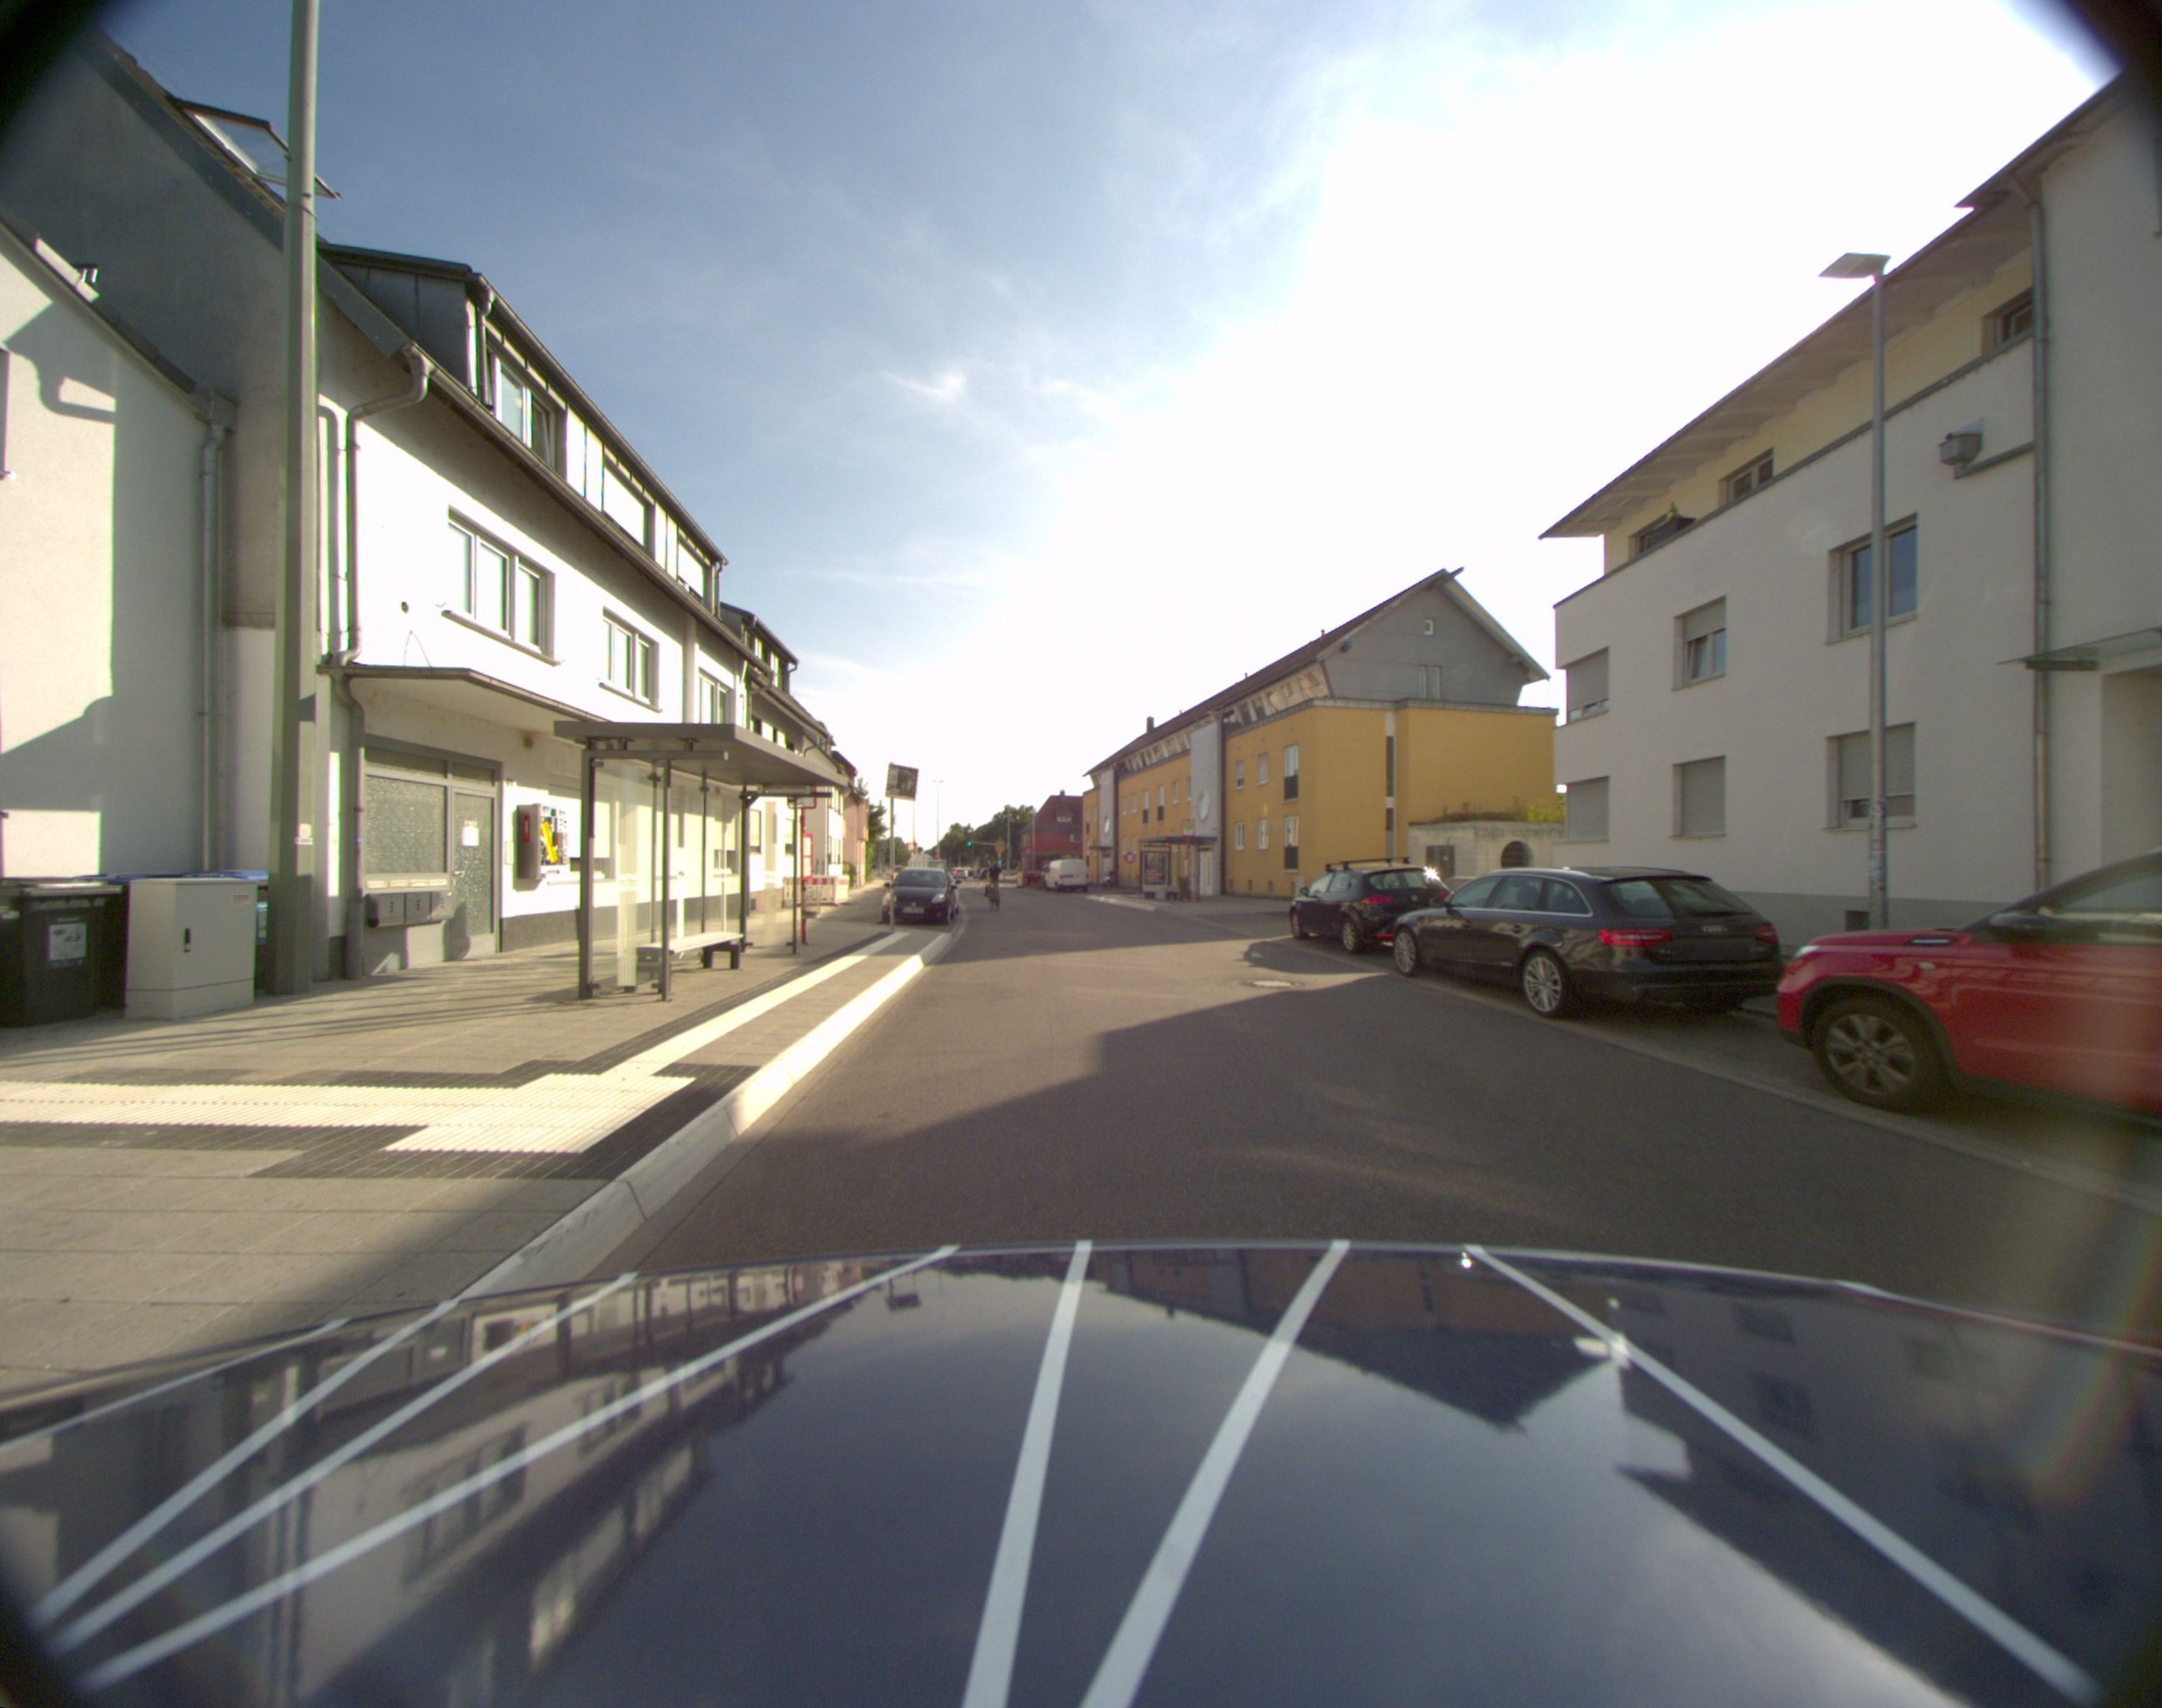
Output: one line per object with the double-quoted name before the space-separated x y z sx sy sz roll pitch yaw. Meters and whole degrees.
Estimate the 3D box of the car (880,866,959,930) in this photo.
"car" -4.241 1.110 20.456 1.613 1.412 3.917 4 -1 -6

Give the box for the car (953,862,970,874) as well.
"car" -16.178 1.845 103.001 1.984 1.520 3.996 0 0 -12

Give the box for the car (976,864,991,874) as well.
"car" -13.729 2.094 106.877 1.796 1.433 3.996 -1 0 -12

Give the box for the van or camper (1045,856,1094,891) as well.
"van or camper" -0.792 1.180 47.204 2.001 1.991 4.915 -1 0 -13

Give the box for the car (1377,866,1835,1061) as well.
"car" 5.152 0.919 8.410 1.732 1.469 4.501 -2 0 -4

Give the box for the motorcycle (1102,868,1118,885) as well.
"motorcycle" 2.012 1.572 53.493 0.584 1.176 1.875 -1 0 -16

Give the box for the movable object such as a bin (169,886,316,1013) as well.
"movable object such as a bin" -7.574 0.844 6.889 0.698 1.087 0.559 1 0 -2

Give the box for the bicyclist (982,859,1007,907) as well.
"bicyclist" -3.059 1.012 27.054 0.845 1.679 0.877 -1 0 -5

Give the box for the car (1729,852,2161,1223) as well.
"car" 5.558 0.792 3.296 1.732 1.612 4.263 0 -1 -3

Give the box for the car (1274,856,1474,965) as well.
"car" 5.113 0.892 13.934 1.781 1.612 4.176 -3 0 -4

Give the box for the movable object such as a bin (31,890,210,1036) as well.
"movable object such as a bin" -7.608 0.841 6.048 0.698 1.087 0.558 1 0 -4

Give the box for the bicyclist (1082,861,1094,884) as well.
"bicyclist" 0.504 1.338 55.146 0.676 1.659 0.665 -1 0 -12

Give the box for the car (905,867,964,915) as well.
"car" -4.941 1.203 25.813 1.721 1.389 4.330 3 -1 -10

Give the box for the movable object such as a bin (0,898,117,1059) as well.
"movable object such as a bin" -7.693 0.857 5.432 0.814 1.053 0.602 1 0 -2

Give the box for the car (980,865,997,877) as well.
"car" -11.821 2.151 96.818 1.796 1.433 3.996 -2 0 -12

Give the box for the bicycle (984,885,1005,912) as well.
"bicycle" -3.055 1.552 26.942 0.680 0.849 2.026 -1 0 -5
